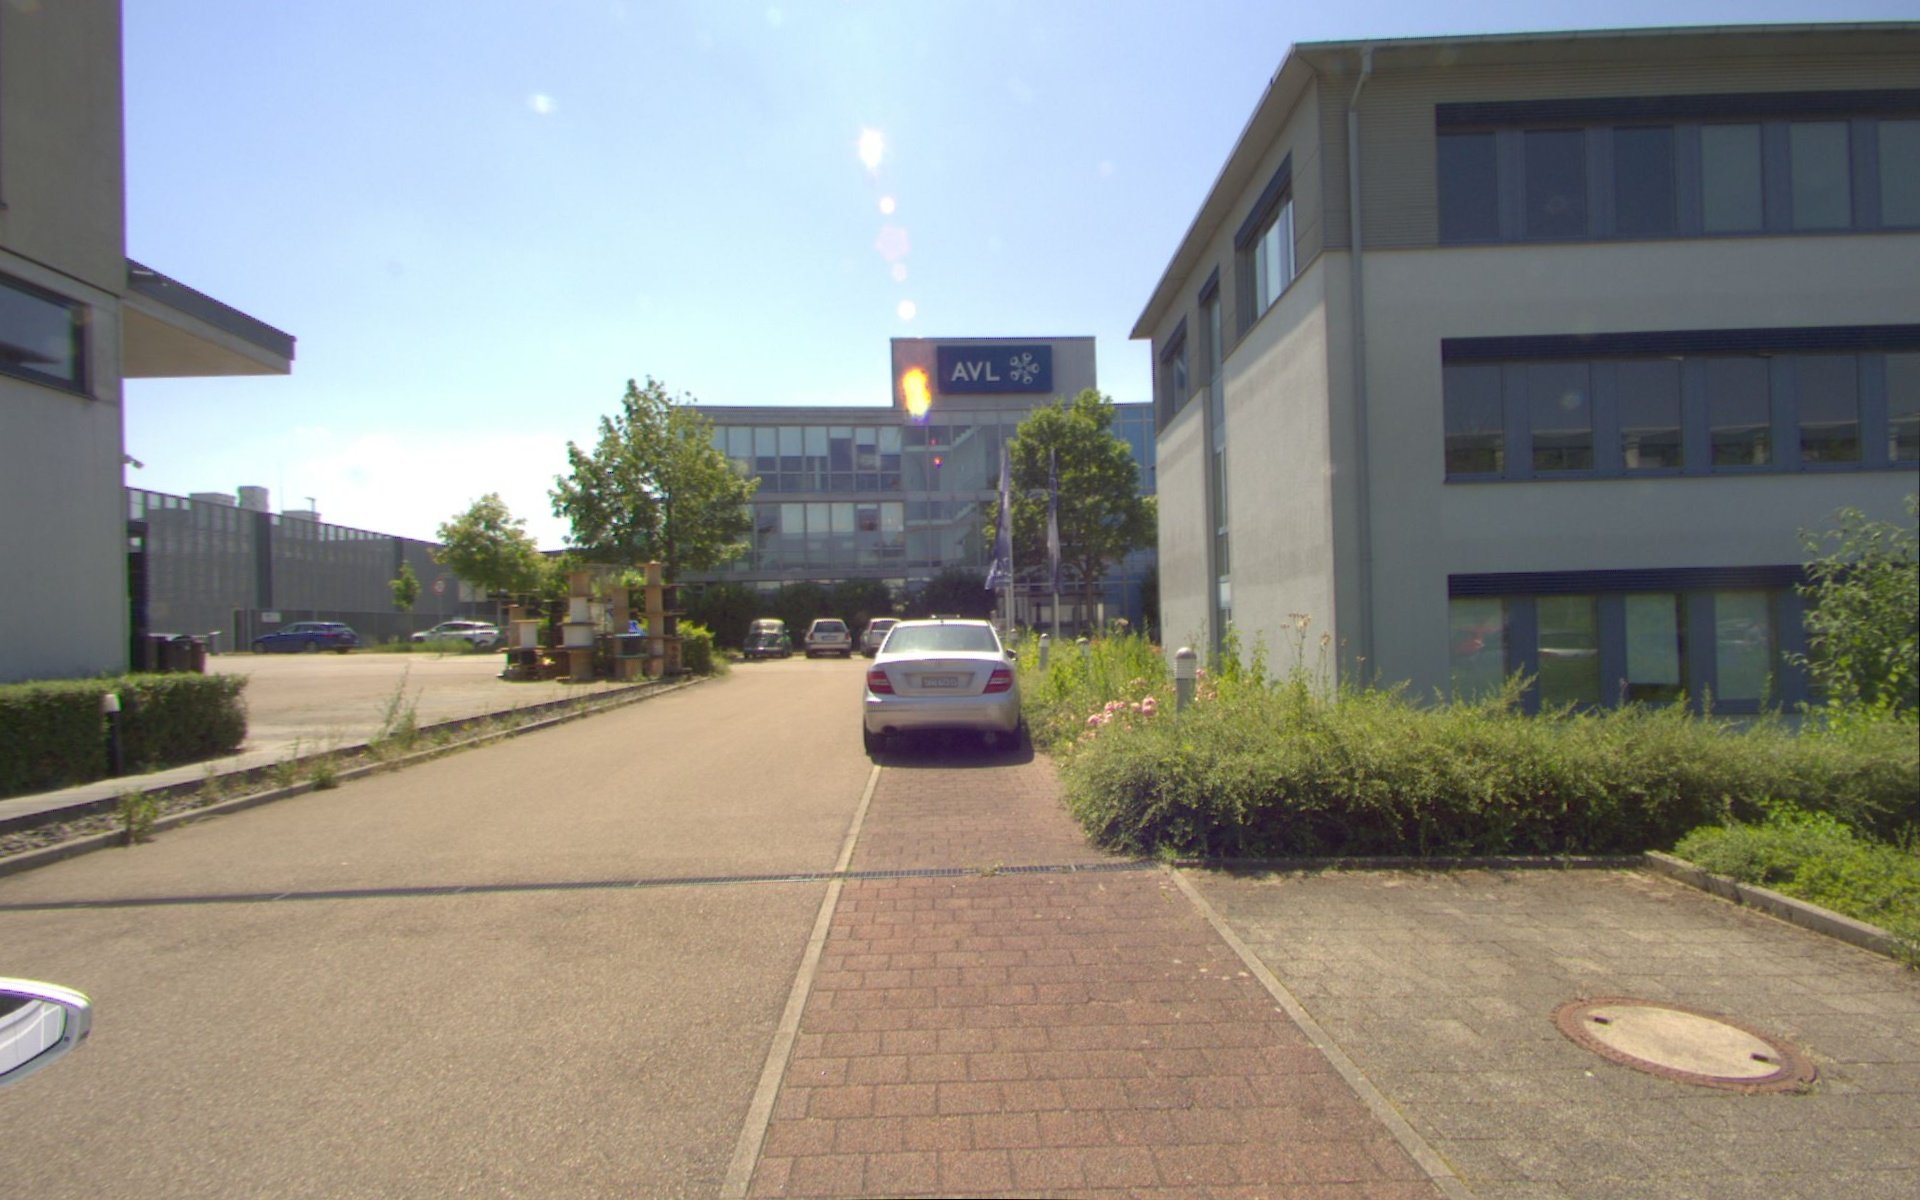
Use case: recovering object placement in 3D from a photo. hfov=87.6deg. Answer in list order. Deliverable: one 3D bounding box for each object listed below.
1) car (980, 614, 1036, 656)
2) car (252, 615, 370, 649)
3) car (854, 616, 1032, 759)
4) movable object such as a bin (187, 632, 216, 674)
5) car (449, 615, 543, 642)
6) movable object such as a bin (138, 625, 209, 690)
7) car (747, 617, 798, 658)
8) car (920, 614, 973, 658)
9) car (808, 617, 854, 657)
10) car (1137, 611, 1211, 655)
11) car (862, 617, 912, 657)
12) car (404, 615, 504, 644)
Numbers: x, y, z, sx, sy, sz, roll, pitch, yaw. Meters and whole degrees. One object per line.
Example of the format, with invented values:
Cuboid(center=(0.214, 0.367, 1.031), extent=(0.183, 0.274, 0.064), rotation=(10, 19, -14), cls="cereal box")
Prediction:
Cuboid(center=(1.861, 1.346, 39.733), extent=(1.741, 1.501, 4.258), rotation=(-1, 0, -4), cls="car")
Cuboid(center=(-29.820, 1.447, 46.084), extent=(4.429, 1.511, 1.999), rotation=(0, 0, 12), cls="car")
Cuboid(center=(-0.126, 0.940, 12.234), extent=(1.770, 1.416, 4.421), rotation=(-1, -2, 1), cls="car")
Cuboid(center=(-19.432, 1.354, 25.652), extent=(0.571, 1.050, 0.423), rotation=(0, -1, -36), cls="movable object such as a bin")
Cuboid(center=(-27.180, 1.661, 58.664), extent=(4.763, 1.511, 1.999), rotation=(0, 0, 12), cls="car")
Cuboid(center=(-16.843, 1.222, 21.460), extent=(0.797, 1.362, 0.884), rotation=(-1, -1, 3), cls="movable object such as a bin")
Cuboid(center=(-7.207, 1.407, 38.696), extent=(1.517, 1.468, 3.653), rotation=(0, 0, -4), cls="car")
Cuboid(center=(-0.586, 1.362, 39.476), extent=(1.896, 1.632, 3.986), rotation=(0, 0, -4), cls="car")
Cuboid(center=(-5.045, 1.404, 39.047), extent=(1.704, 1.468, 3.652), rotation=(0, 0, -8), cls="car")
Cuboid(center=(8.538, 1.283, 40.237), extent=(1.790, 1.641, 4.339), rotation=(-1, 0, -4), cls="car")
Cuboid(center=(-2.909, 1.436, 39.351), extent=(1.737, 1.468, 3.652), rotation=(0, 0, -8), cls="car")
Cuboid(center=(-28.162, 1.618, 55.748), extent=(4.763, 1.511, 1.999), rotation=(0, 0, 12), cls="car")
